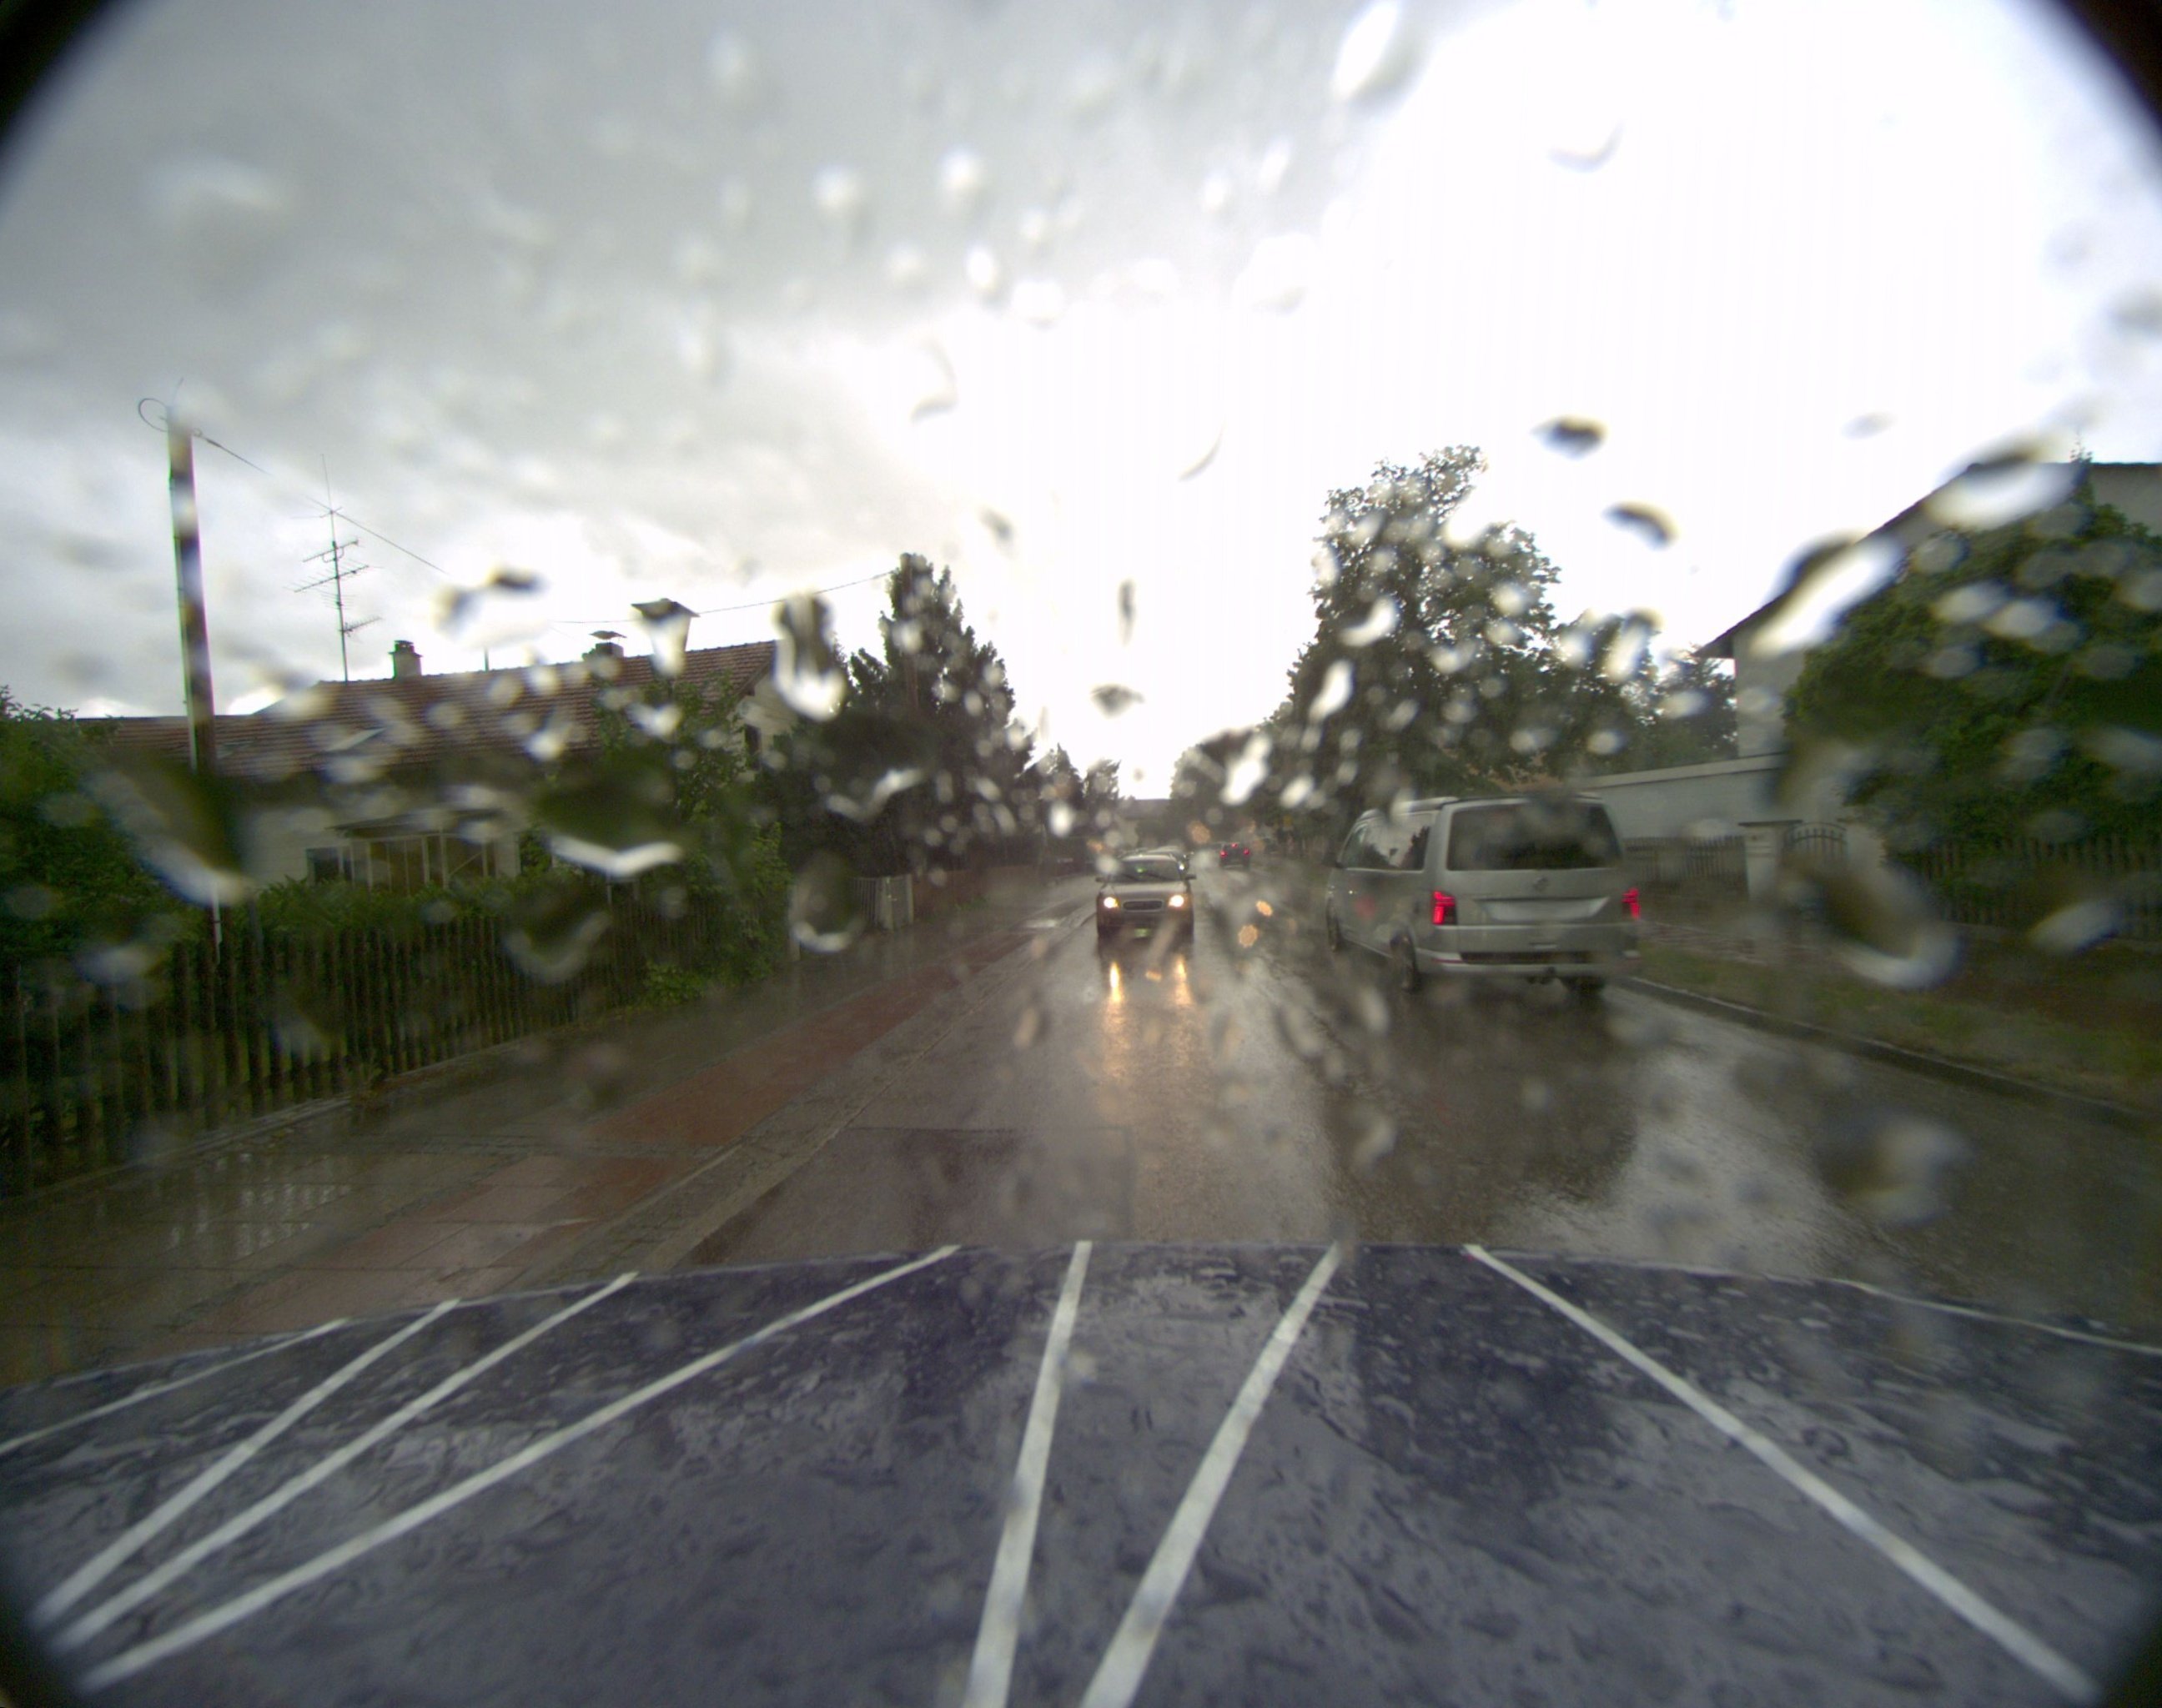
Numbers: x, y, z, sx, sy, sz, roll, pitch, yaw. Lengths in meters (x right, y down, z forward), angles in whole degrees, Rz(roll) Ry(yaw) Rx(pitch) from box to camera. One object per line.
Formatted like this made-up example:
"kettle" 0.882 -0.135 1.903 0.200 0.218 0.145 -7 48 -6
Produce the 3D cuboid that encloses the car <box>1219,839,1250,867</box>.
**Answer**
"car" 9.493 -0.089 47.094 1.590 1.601 3.540 -2 1 7

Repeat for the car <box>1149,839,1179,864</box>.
"car" 5.965 -0.226 54.279 1.871 1.512 4.963 -5 1 8

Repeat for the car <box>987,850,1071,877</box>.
"car" -2.807 0.499 41.831 4.440 1.413 1.830 0 1 0

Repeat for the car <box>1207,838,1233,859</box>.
"car" 11.948 -0.479 65.581 1.757 1.668 4.001 -1 1 5

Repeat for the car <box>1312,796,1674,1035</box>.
"car" 4.124 0.484 8.652 1.854 1.960 4.702 -1 1 4

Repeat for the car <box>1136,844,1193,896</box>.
"car" 3.280 0.539 29.375 1.871 1.603 4.962 -5 1 8

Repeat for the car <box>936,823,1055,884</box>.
"car" -3.868 -0.019 35.211 5.317 2.712 1.999 0 1 -2

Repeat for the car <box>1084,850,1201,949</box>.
"car" 1.291 0.744 14.650 1.871 1.512 4.190 -3 1 8
